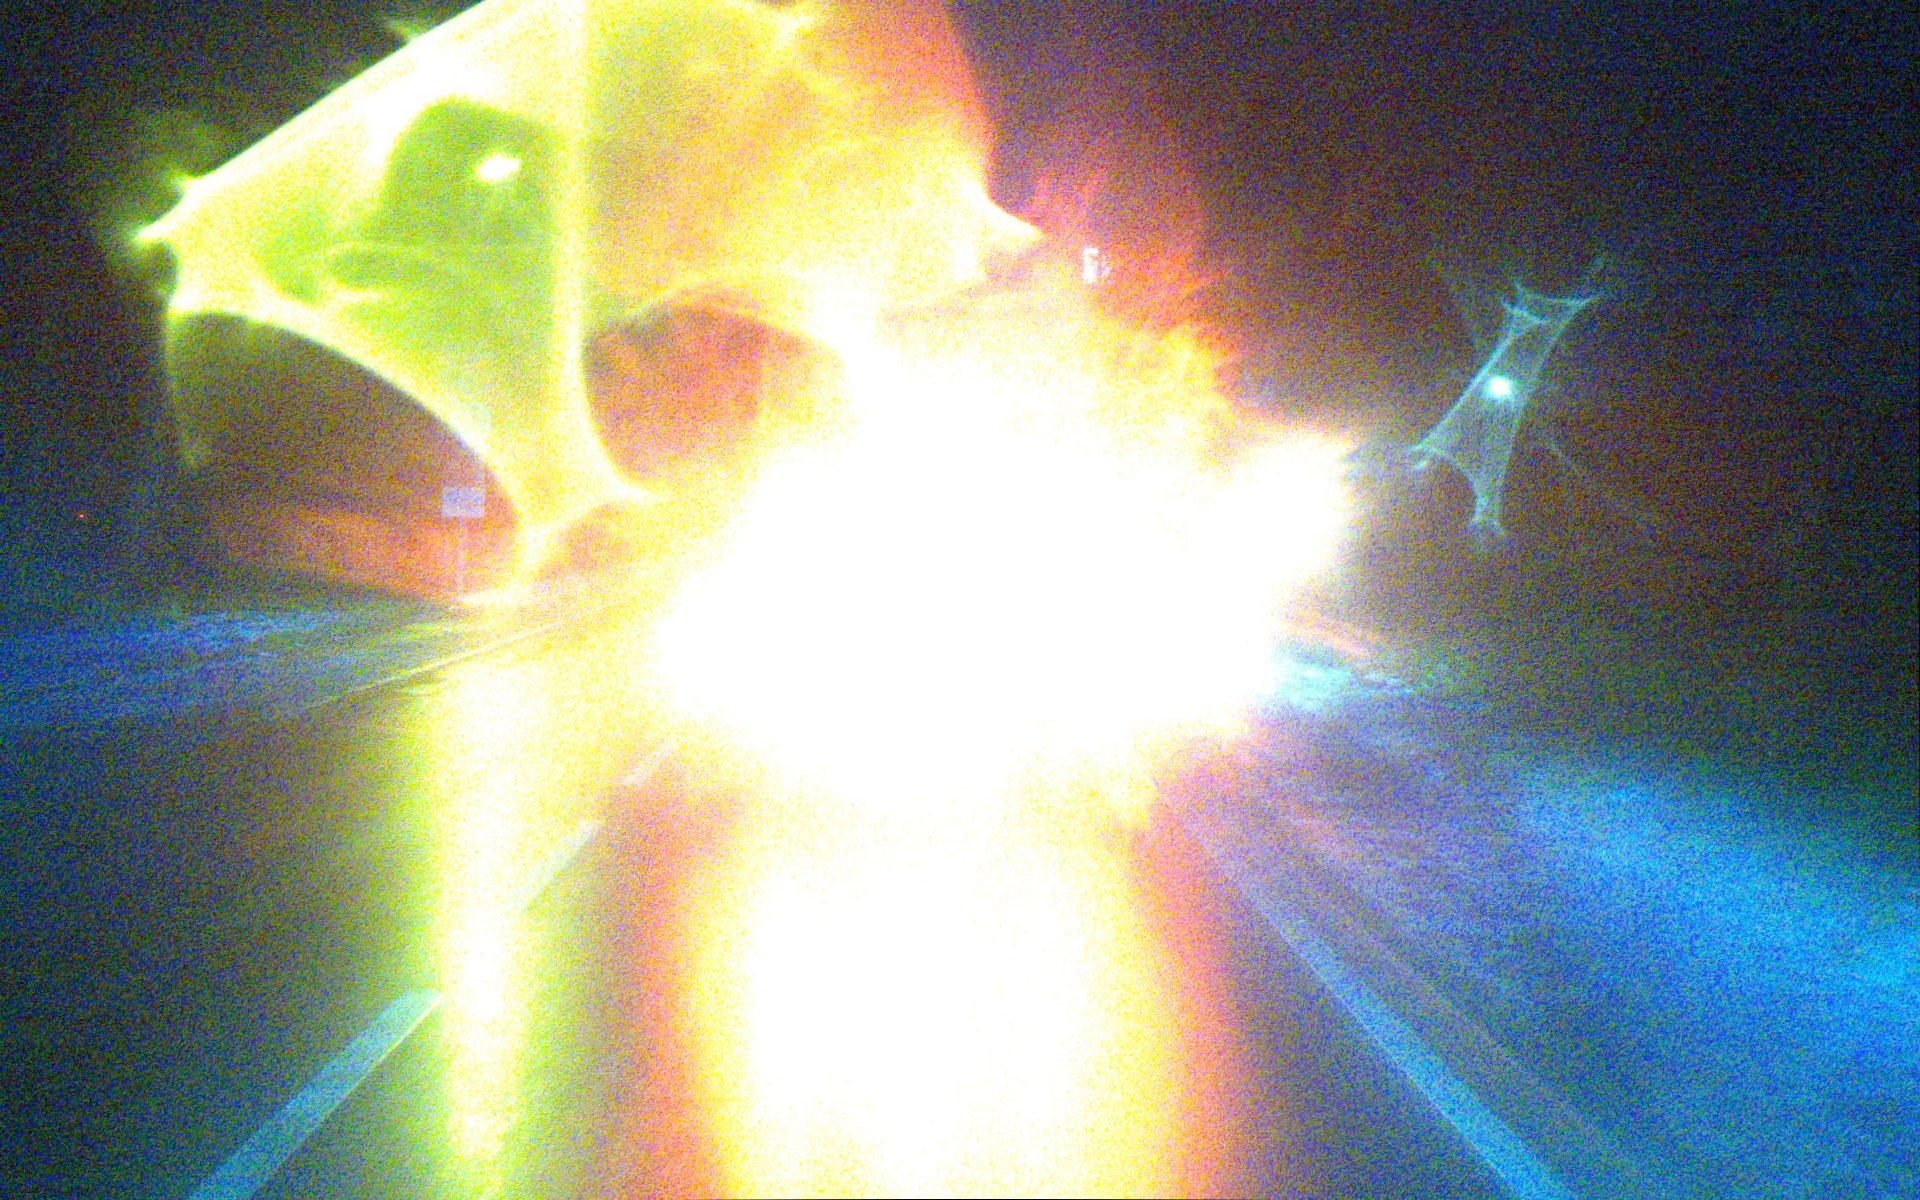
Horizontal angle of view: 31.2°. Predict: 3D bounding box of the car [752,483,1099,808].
[{"bbox_3d":[-0.119,0.191,19.784,1.791,1.675,3.904,0,1,2],"label":"car"}]
